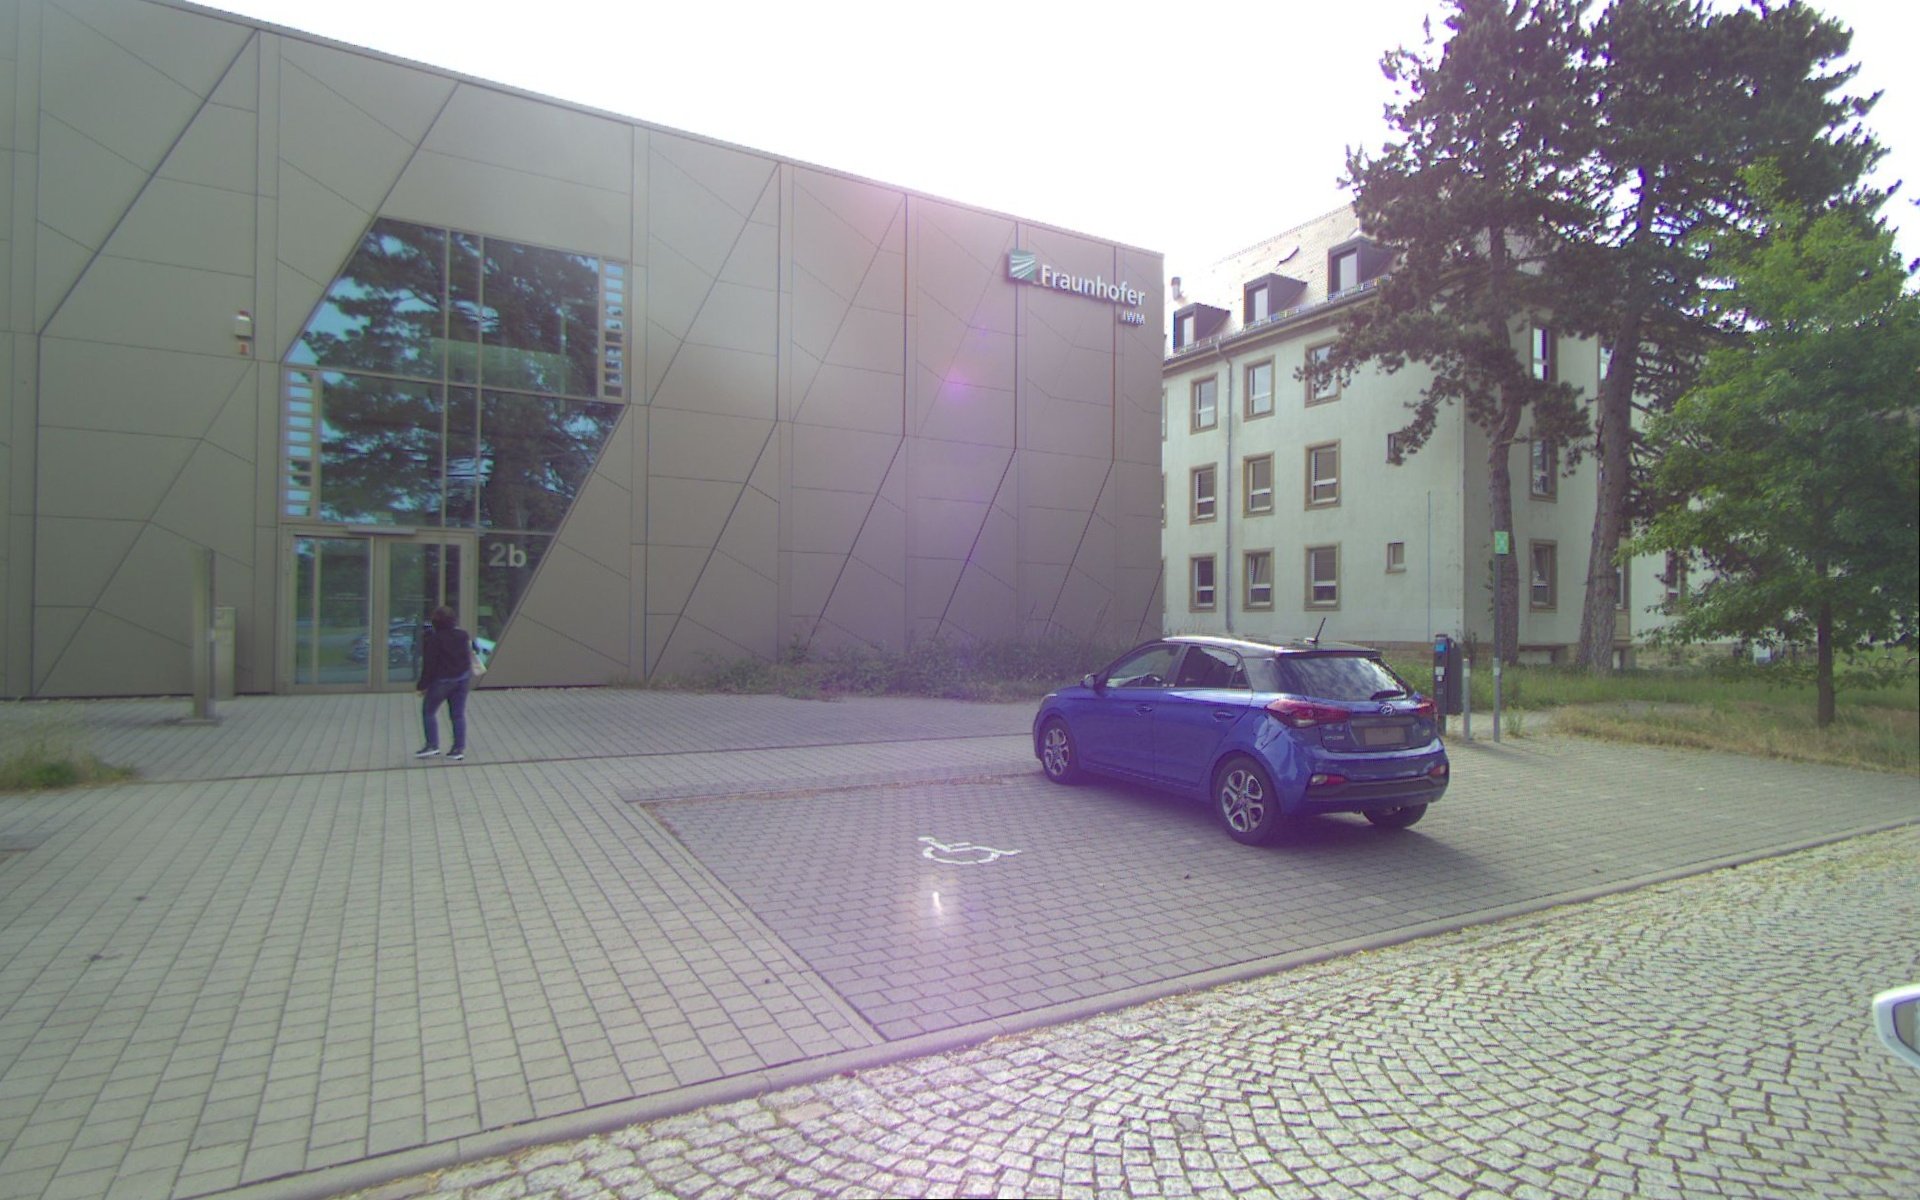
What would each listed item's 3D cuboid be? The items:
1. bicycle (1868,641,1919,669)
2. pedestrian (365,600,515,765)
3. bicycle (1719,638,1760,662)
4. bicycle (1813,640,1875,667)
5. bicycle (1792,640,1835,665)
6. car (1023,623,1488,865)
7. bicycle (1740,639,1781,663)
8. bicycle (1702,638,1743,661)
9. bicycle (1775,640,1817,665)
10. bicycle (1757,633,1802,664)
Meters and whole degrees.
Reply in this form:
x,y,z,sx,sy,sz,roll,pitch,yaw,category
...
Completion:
x,y,z,sx,sy,sz,roll,pitch,yaw,category
38.988,2.271,41.620,0.821,1.090,1.849,1,-2,-27,bicycle
-5.153,0.785,9.989,0.966,1.514,0.819,2,0,15,pedestrian
36.936,2.371,47.592,2.246,1.090,0.732,1,-2,-30,bicycle
38.046,2.295,43.248,0.729,1.090,1.849,1,-2,-27,bicycle
38.394,2.359,45.173,2.246,1.090,0.732,1,-2,-30,bicycle
2.280,1.009,8.742,1.828,1.497,3.752,1,0,-27,car
37.667,2.397,47.275,2.246,1.090,0.732,1,-2,-30,bicycle
36.644,2.383,48.267,2.246,1.090,0.732,1,-2,-30,bicycle
38.016,2.375,45.693,2.246,1.090,0.732,1,-2,-30,bicycle
37.961,2.247,46.523,2.679,1.404,0.732,1,-2,-30,bicycle
